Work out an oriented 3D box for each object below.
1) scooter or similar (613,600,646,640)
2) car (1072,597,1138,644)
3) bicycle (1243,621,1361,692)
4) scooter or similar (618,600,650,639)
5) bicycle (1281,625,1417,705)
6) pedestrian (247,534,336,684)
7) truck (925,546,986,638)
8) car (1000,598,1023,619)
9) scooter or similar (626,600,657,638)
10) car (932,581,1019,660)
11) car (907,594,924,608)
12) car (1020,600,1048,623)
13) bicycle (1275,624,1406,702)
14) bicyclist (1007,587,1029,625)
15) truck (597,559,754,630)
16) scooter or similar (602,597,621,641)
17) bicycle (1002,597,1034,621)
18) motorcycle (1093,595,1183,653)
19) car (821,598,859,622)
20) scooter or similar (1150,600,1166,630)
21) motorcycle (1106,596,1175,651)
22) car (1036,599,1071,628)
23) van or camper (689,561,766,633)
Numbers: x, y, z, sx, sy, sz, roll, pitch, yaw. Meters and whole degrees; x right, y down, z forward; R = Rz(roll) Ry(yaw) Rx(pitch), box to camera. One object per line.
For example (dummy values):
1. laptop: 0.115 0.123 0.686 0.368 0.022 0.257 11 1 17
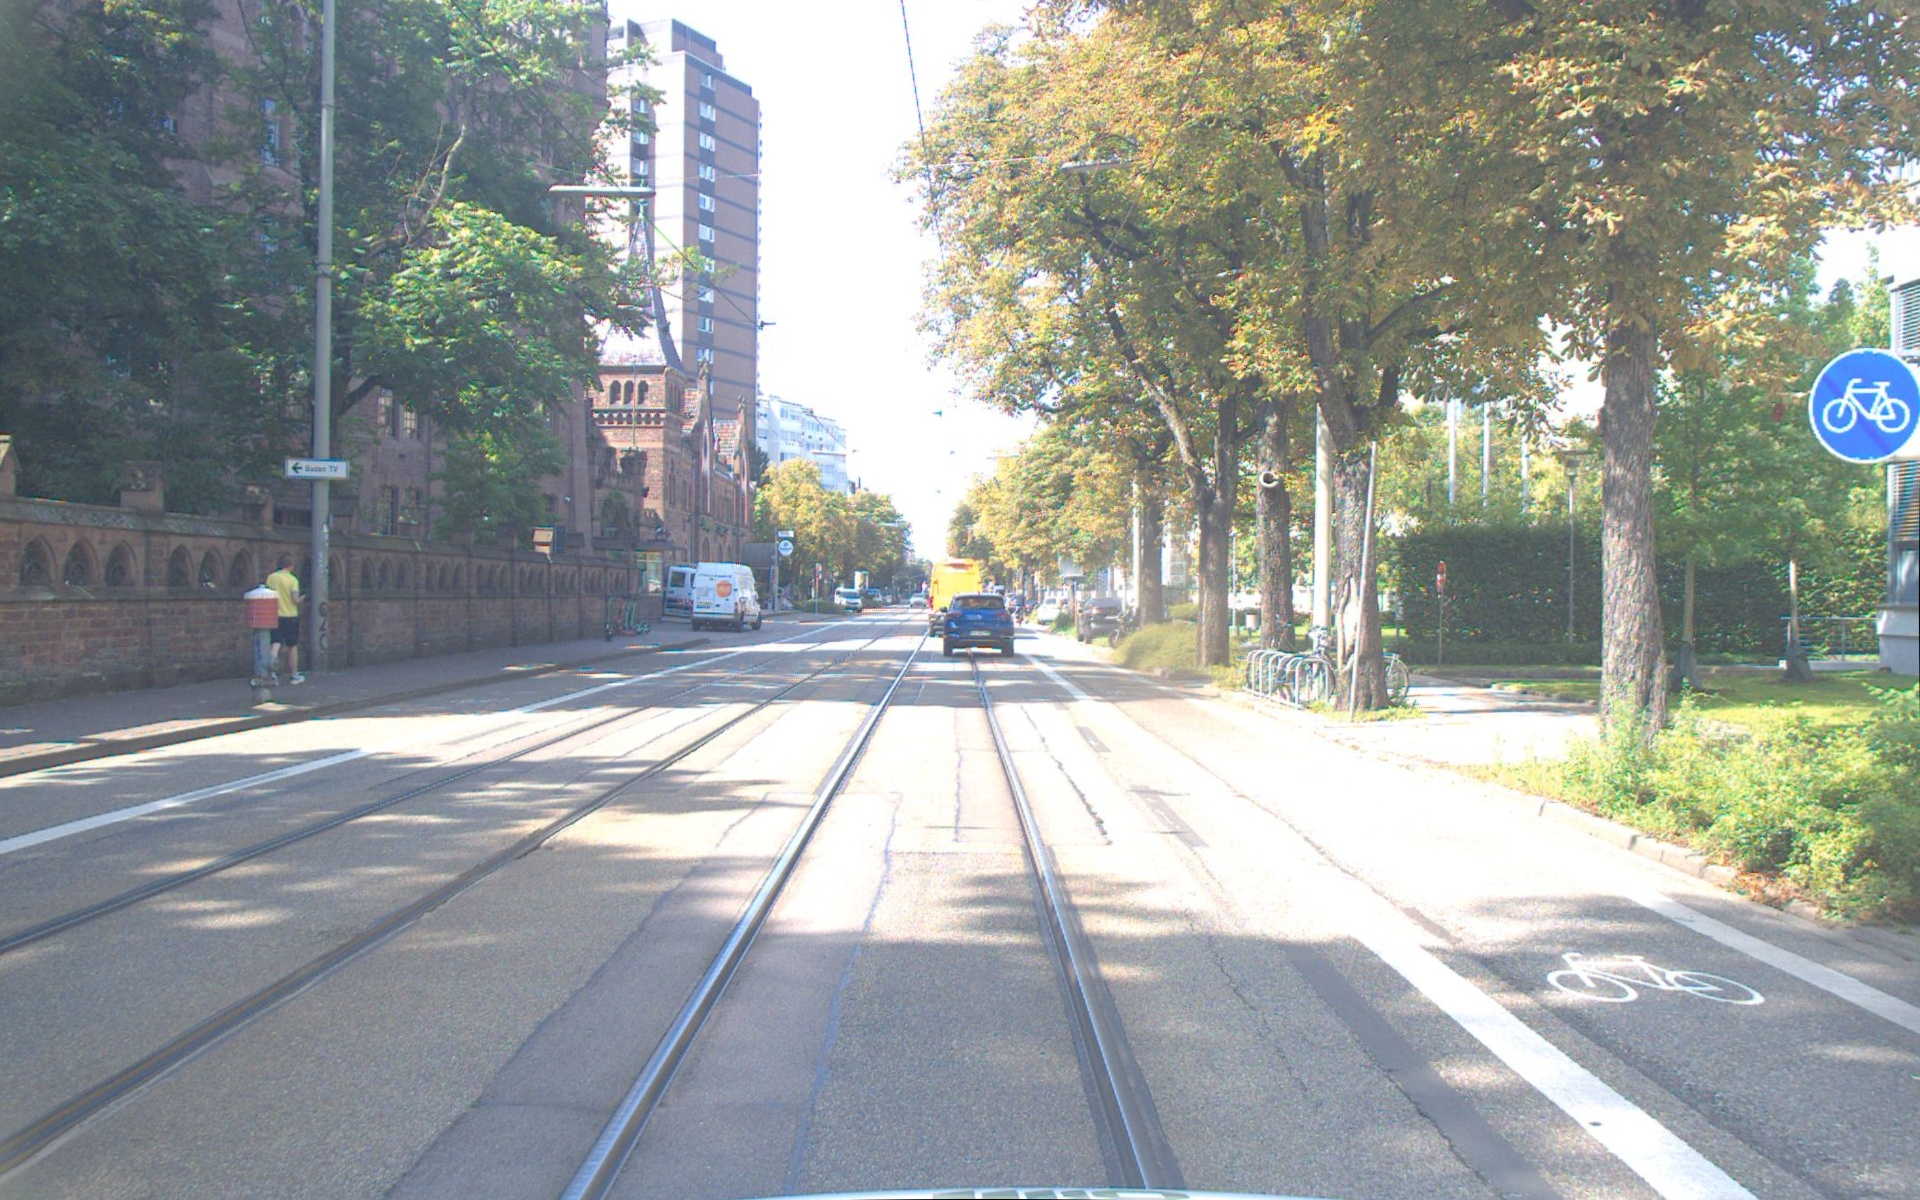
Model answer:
1. scooter or similar: -10.035 0.592 50.285 0.332 1.199 1.177 1 0 25
2. car: 4.947 0.685 56.989 1.720 1.542 4.608 -1 0 -2
3. bicycle: 5.336 0.881 25.855 1.735 1.068 0.540 0 0 -2
4. scooter or similar: -10.128 0.590 51.457 0.332 1.199 1.177 1 0 25
5. bicycle: 5.328 0.882 22.697 1.735 1.068 0.540 0 0 -2
6. pedestrian: -9.431 0.125 23.360 0.846 2.049 0.983 1 0 -2
7. truck: -0.148 -0.269 60.126 2.092 3.179 6.084 0 0 0
8. car: 4.411 0.699 140.987 1.705 1.697 4.360 1 0 -1
9. scooter or similar: -10.118 0.590 52.591 0.332 1.199 1.177 1 0 25
10. car: 0.362 0.500 42.505 2.092 1.891 5.567 0 0 0
11. car: -5.148 0.087 191.476 1.809 1.518 4.867 -1 0 0
12. car: 4.716 0.716 106.249 1.625 1.432 4.216 0 0 0
13. bicycle: 5.368 0.883 23.376 1.735 1.068 0.540 0 0 -2
14. bicyclist: 2.844 0.278 80.665 1.010 1.844 1.016 1 0 -1
15. truck: -12.179 -0.250 70.983 6.188 2.582 2.132 4 1 4
16. scooter or similar: -9.688 0.508 45.987 0.413 1.199 1.311 1 0 -16
17. bicycle: 2.806 0.434 80.670 1.373 1.154 4.000 1 0 0
18. motorcycle: 4.972 0.654 46.324 2.408 1.542 0.849 1 0 38
19. car: -9.763 0.810 134.434 1.726 1.828 3.965 1 0 -27
20. scooter or similar: 8.717 0.659 72.827 0.544 1.281 1.818 1 0 2
21. motorcycle: 5.224 0.657 48.027 0.839 1.542 2.436 1 0 -24
22. car: 4.958 0.690 87.869 1.625 1.507 4.216 0 0 0
23. van or camper: -9.236 -0.108 66.160 2.069 2.722 5.956 1 0 1
